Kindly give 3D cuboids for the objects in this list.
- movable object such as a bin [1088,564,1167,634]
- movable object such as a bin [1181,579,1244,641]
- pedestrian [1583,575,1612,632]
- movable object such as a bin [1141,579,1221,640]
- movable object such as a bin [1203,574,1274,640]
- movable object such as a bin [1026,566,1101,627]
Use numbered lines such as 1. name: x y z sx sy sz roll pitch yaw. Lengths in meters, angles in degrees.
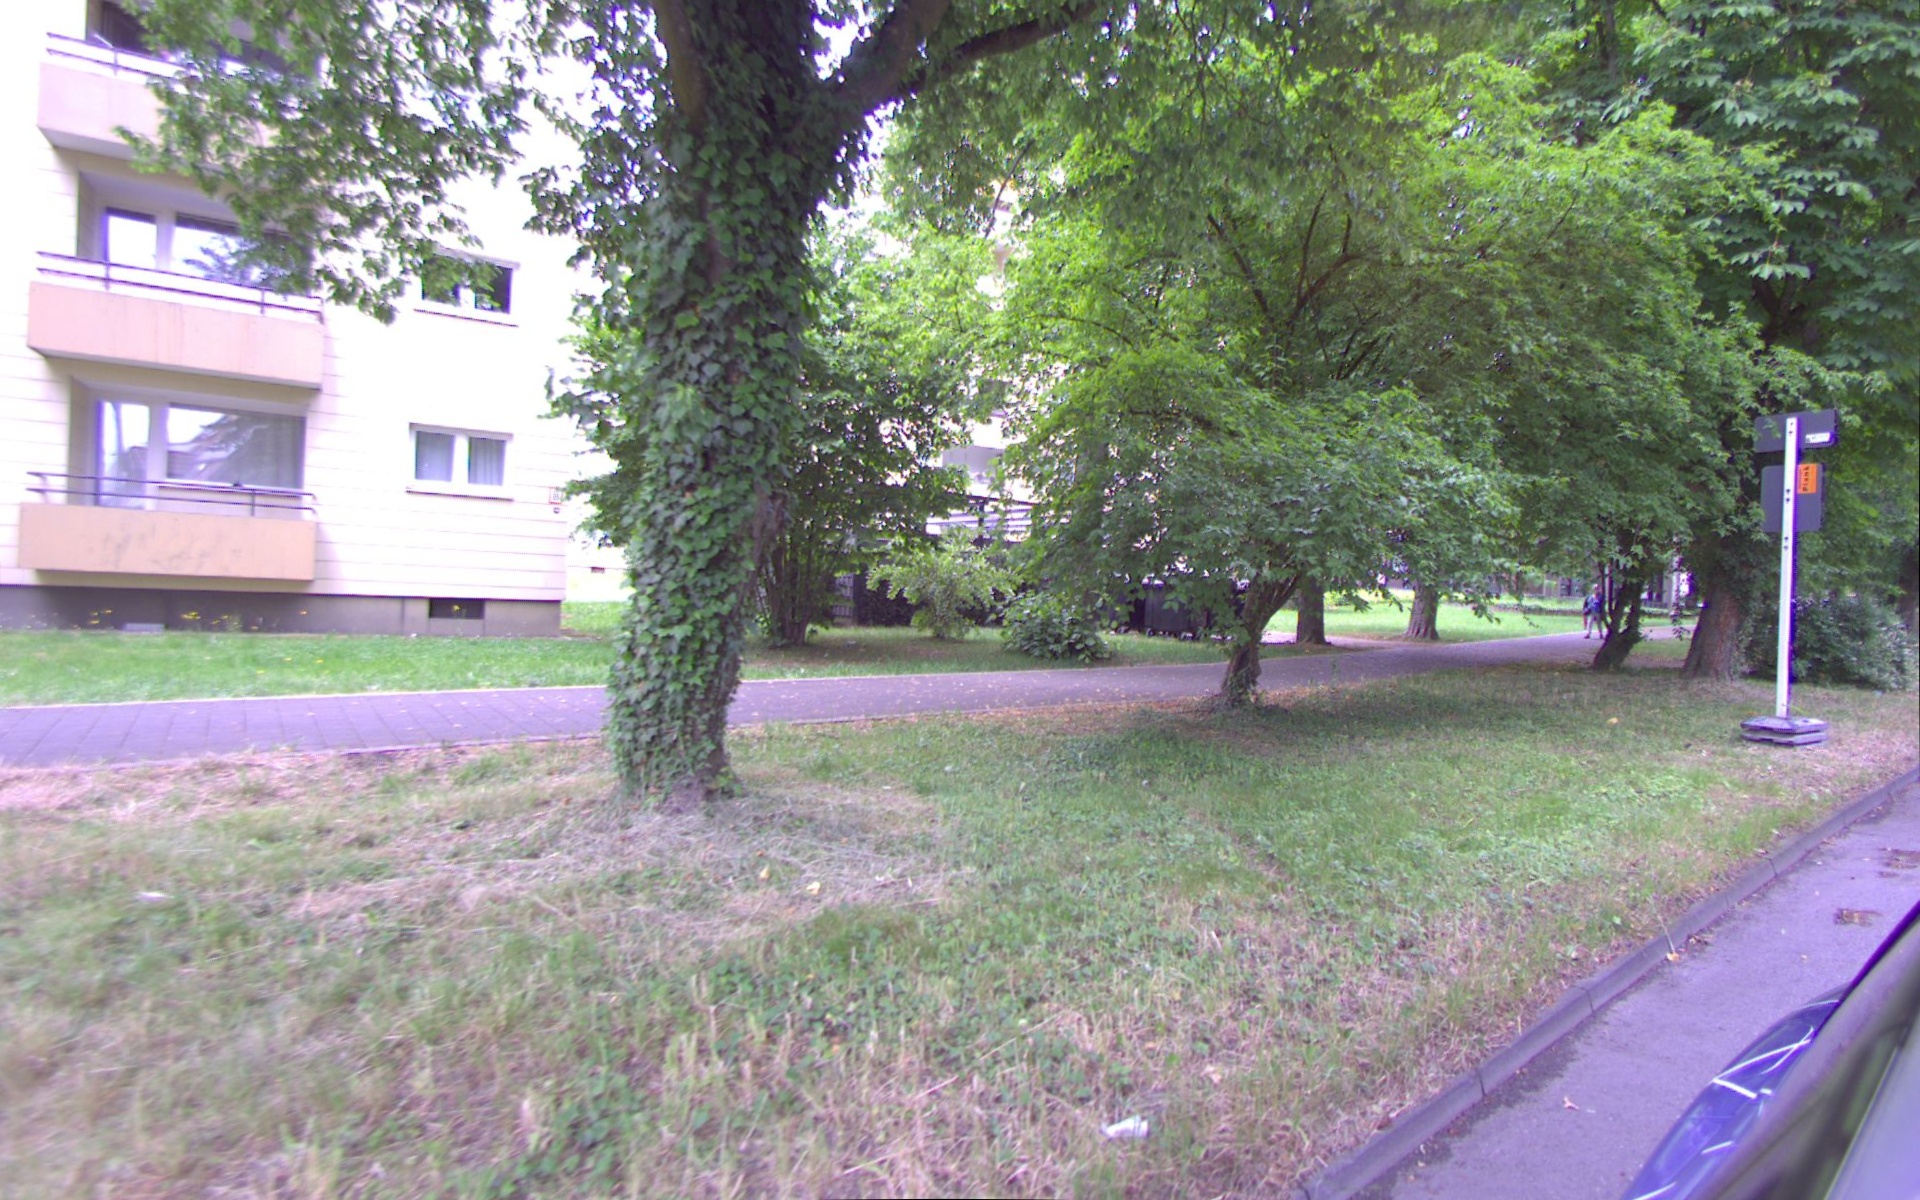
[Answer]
1. movable object such as a bin: 3.747 -0.031 22.597 1.189 1.475 1.329 3 2 40
2. movable object such as a bin: 5.625 0.204 22.533 1.022 1.320 0.946 3 2 40
3. pedestrian: 19.997 0.099 31.750 0.560 1.761 0.565 1 2 -42
4. movable object such as a bin: 4.752 0.185 21.743 1.189 1.236 1.329 3 2 40
5. movable object such as a bin: 6.414 0.142 23.265 1.189 1.431 1.095 3 2 40
6. movable object such as a bin: 2.460 -0.091 24.046 1.189 1.358 1.329 3 2 40
